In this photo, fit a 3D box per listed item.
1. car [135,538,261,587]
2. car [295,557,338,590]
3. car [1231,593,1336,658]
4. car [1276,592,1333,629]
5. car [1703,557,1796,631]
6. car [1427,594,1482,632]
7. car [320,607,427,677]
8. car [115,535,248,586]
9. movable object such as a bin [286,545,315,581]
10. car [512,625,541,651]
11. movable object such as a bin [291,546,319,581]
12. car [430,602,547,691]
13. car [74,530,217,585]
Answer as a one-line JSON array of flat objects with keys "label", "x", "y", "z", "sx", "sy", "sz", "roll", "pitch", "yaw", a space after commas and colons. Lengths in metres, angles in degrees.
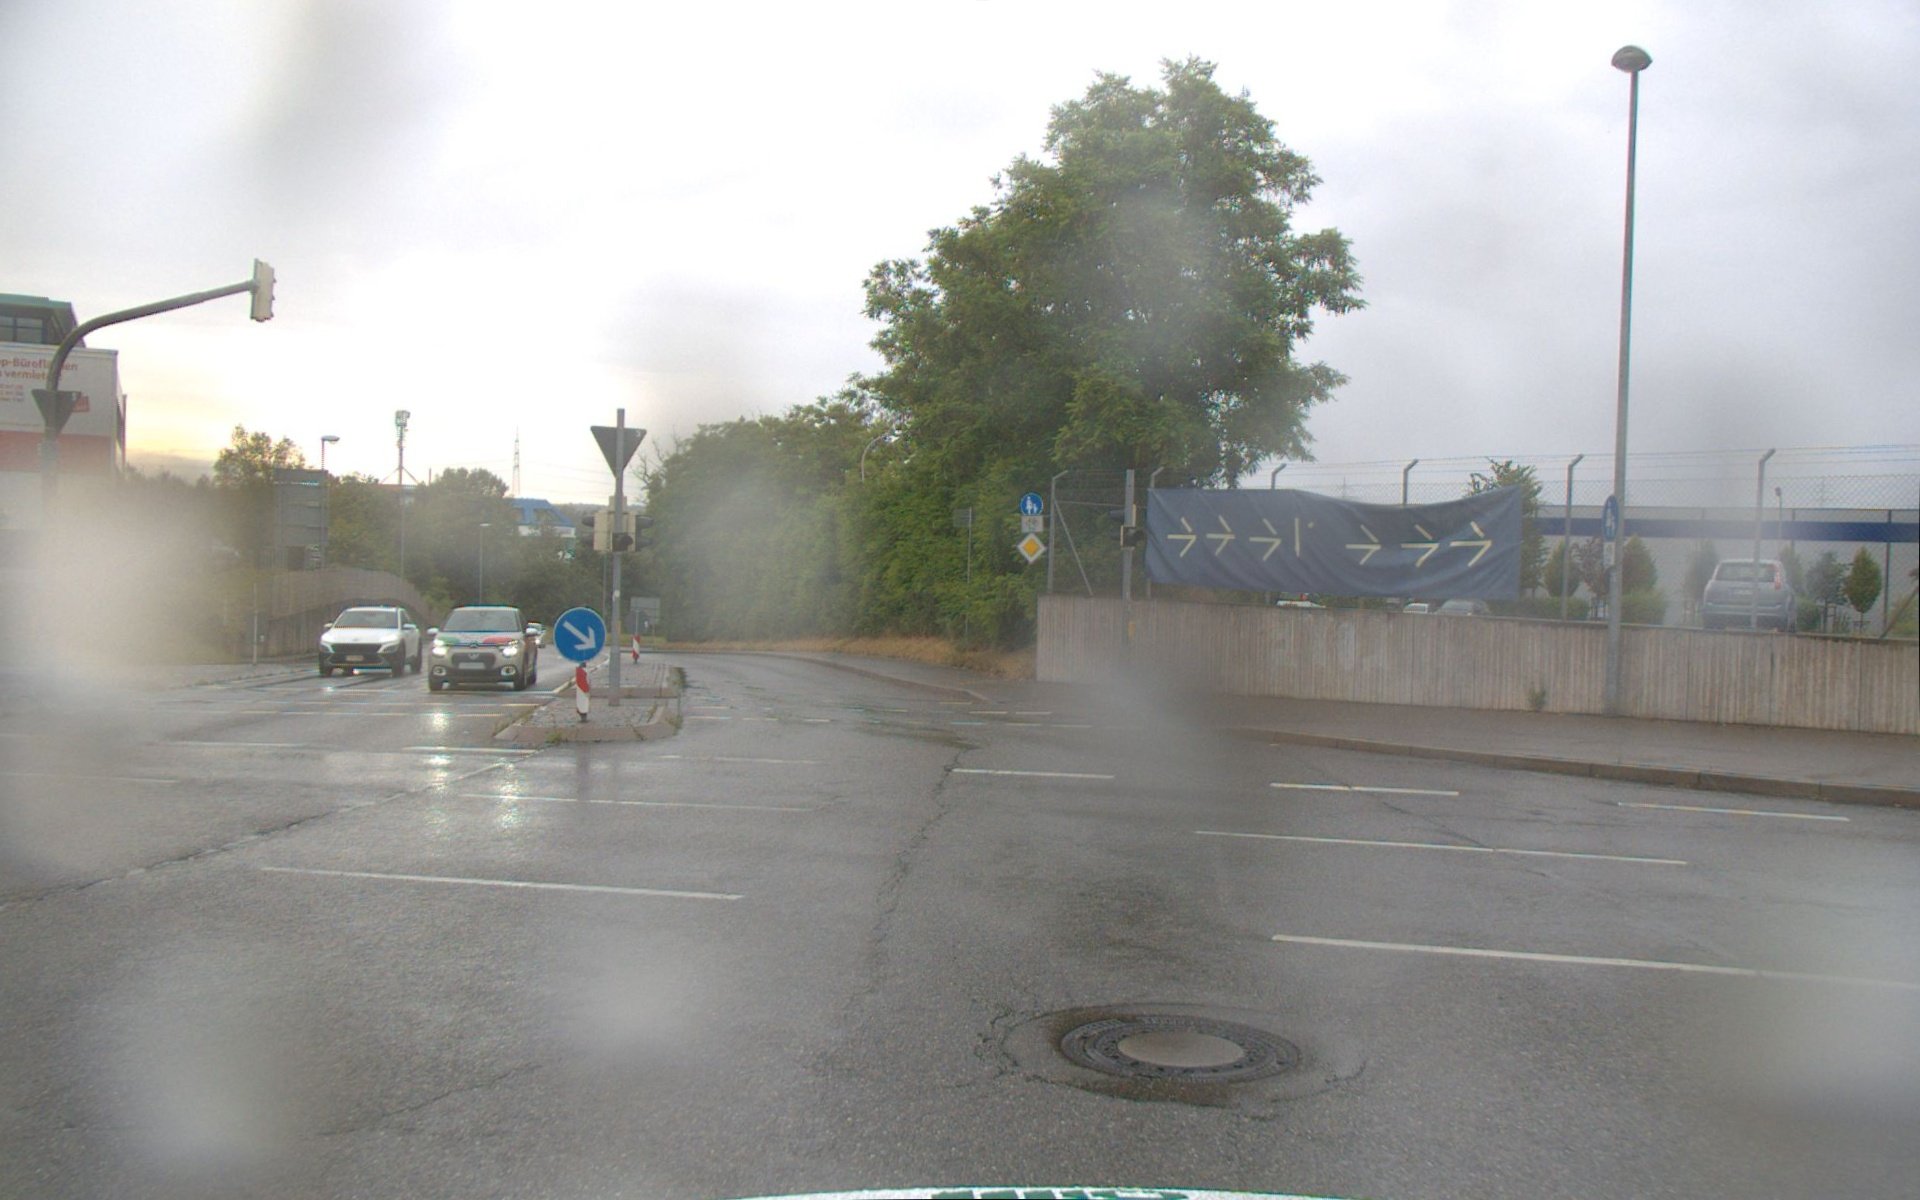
[{"label": "car", "x": -27.620, "y": -1.366, "z": 59.973, "sx": 3.904, "sy": 1.614, "sz": 1.902, "roll": 1, "pitch": -2, "yaw": 20}, {"label": "car", "x": -32.506, "y": -1.305, "z": 83.622, "sx": 1.799, "sy": 1.467, "sz": 3.978, "roll": 2, "pitch": -2, "yaw": -19}, {"label": "car", "x": 8.486, "y": 0.658, "z": 43.241, "sx": 1.709, "sy": 1.597, "sz": 3.525, "roll": 1, "pitch": 0, "yaw": 28}, {"label": "car", "x": 15.913, "y": 0.501, "z": 76.375, "sx": 1.635, "sy": 1.634, "sz": 3.525, "roll": 1, "pitch": 0, "yaw": 28}, {"label": "car", "x": 17.814, "y": -0.120, "z": 37.253, "sx": 1.709, "sy": 1.580, "sz": 3.525, "roll": 1, "pitch": 0, "yaw": 28}, {"label": "car", "x": 21.624, "y": 0.571, "z": 72.275, "sx": 1.635, "sy": 1.634, "sz": 3.525, "roll": 1, "pitch": 0, "yaw": 28}, {"label": "car", "x": -13.628, "y": 0.953, "z": 38.622, "sx": 1.689, "sy": 1.521, "sz": 3.990, "roll": 1, "pitch": -1, "yaw": -10}, {"label": "car", "x": -26.841, "y": -1.366, "z": 57.072, "sx": 3.904, "sy": 1.614, "sz": 1.902, "roll": 1, "pitch": -2, "yaw": 20}, {"label": "movable object such as a bin", "x": -29.174, "y": -1.618, "z": 73.179, "sx": 1.067, "sy": 1.462, "sz": 1.438, "roll": 2, "pitch": -2, "yaw": -19}, {"label": "car", "x": -26.370, "y": 2.299, "z": 100.791, "sx": 1.625, "sy": 1.454, "sz": 3.779, "roll": 1, "pitch": 0, "yaw": -14}, {"label": "movable object such as a bin", "x": -29.514, "y": -1.618, "z": 74.545, "sx": 1.067, "sy": 1.462, "sz": 1.438, "roll": 2, "pitch": -2, "yaw": -19}, {"label": "car", "x": -8.654, "y": 0.830, "z": 30.608, "sx": 1.631, "sy": 1.521, "sz": 3.990, "roll": 1, "pitch": -1, "yaw": -10}, {"label": "car", "x": -26.701, "y": -1.386, "z": 54.251, "sx": 3.903, "sy": 1.614, "sz": 1.903, "roll": 1, "pitch": -2, "yaw": 16}]
